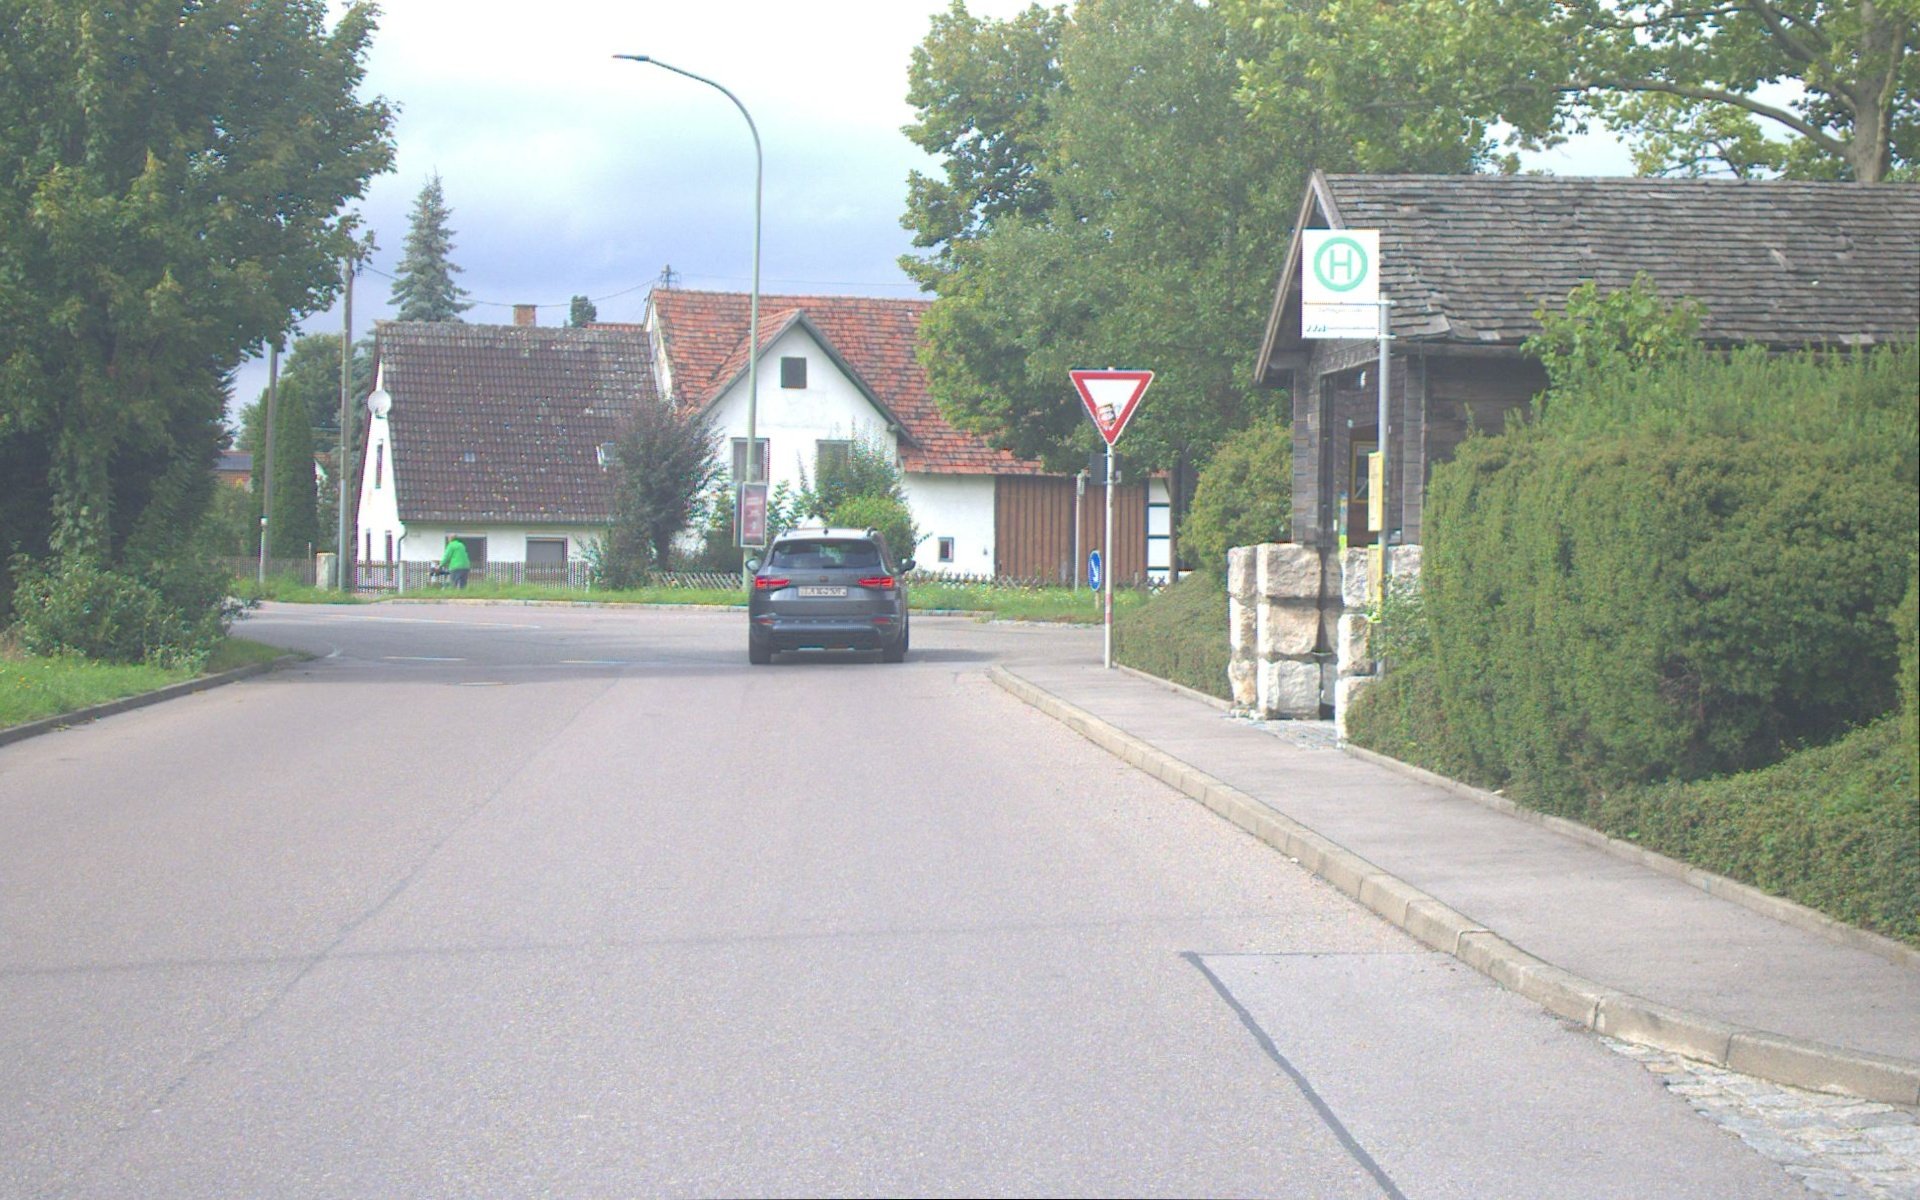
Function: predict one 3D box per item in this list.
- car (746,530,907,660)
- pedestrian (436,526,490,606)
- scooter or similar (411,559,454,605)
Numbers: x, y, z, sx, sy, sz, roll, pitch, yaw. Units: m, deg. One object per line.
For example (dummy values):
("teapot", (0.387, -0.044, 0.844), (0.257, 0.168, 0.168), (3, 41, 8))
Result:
("car", (-1.547, -0.097, 40.914), (1.798, 1.457, 3.662), (0, 1, -1))
("pedestrian", (-10.803, -0.743, 74.740), (0.788, 1.659, 0.712), (5, -2, -35))
("scooter or similar", (-11.521, -0.397, 75.088), (0.630, 0.945, 0.622), (5, -2, -35))
